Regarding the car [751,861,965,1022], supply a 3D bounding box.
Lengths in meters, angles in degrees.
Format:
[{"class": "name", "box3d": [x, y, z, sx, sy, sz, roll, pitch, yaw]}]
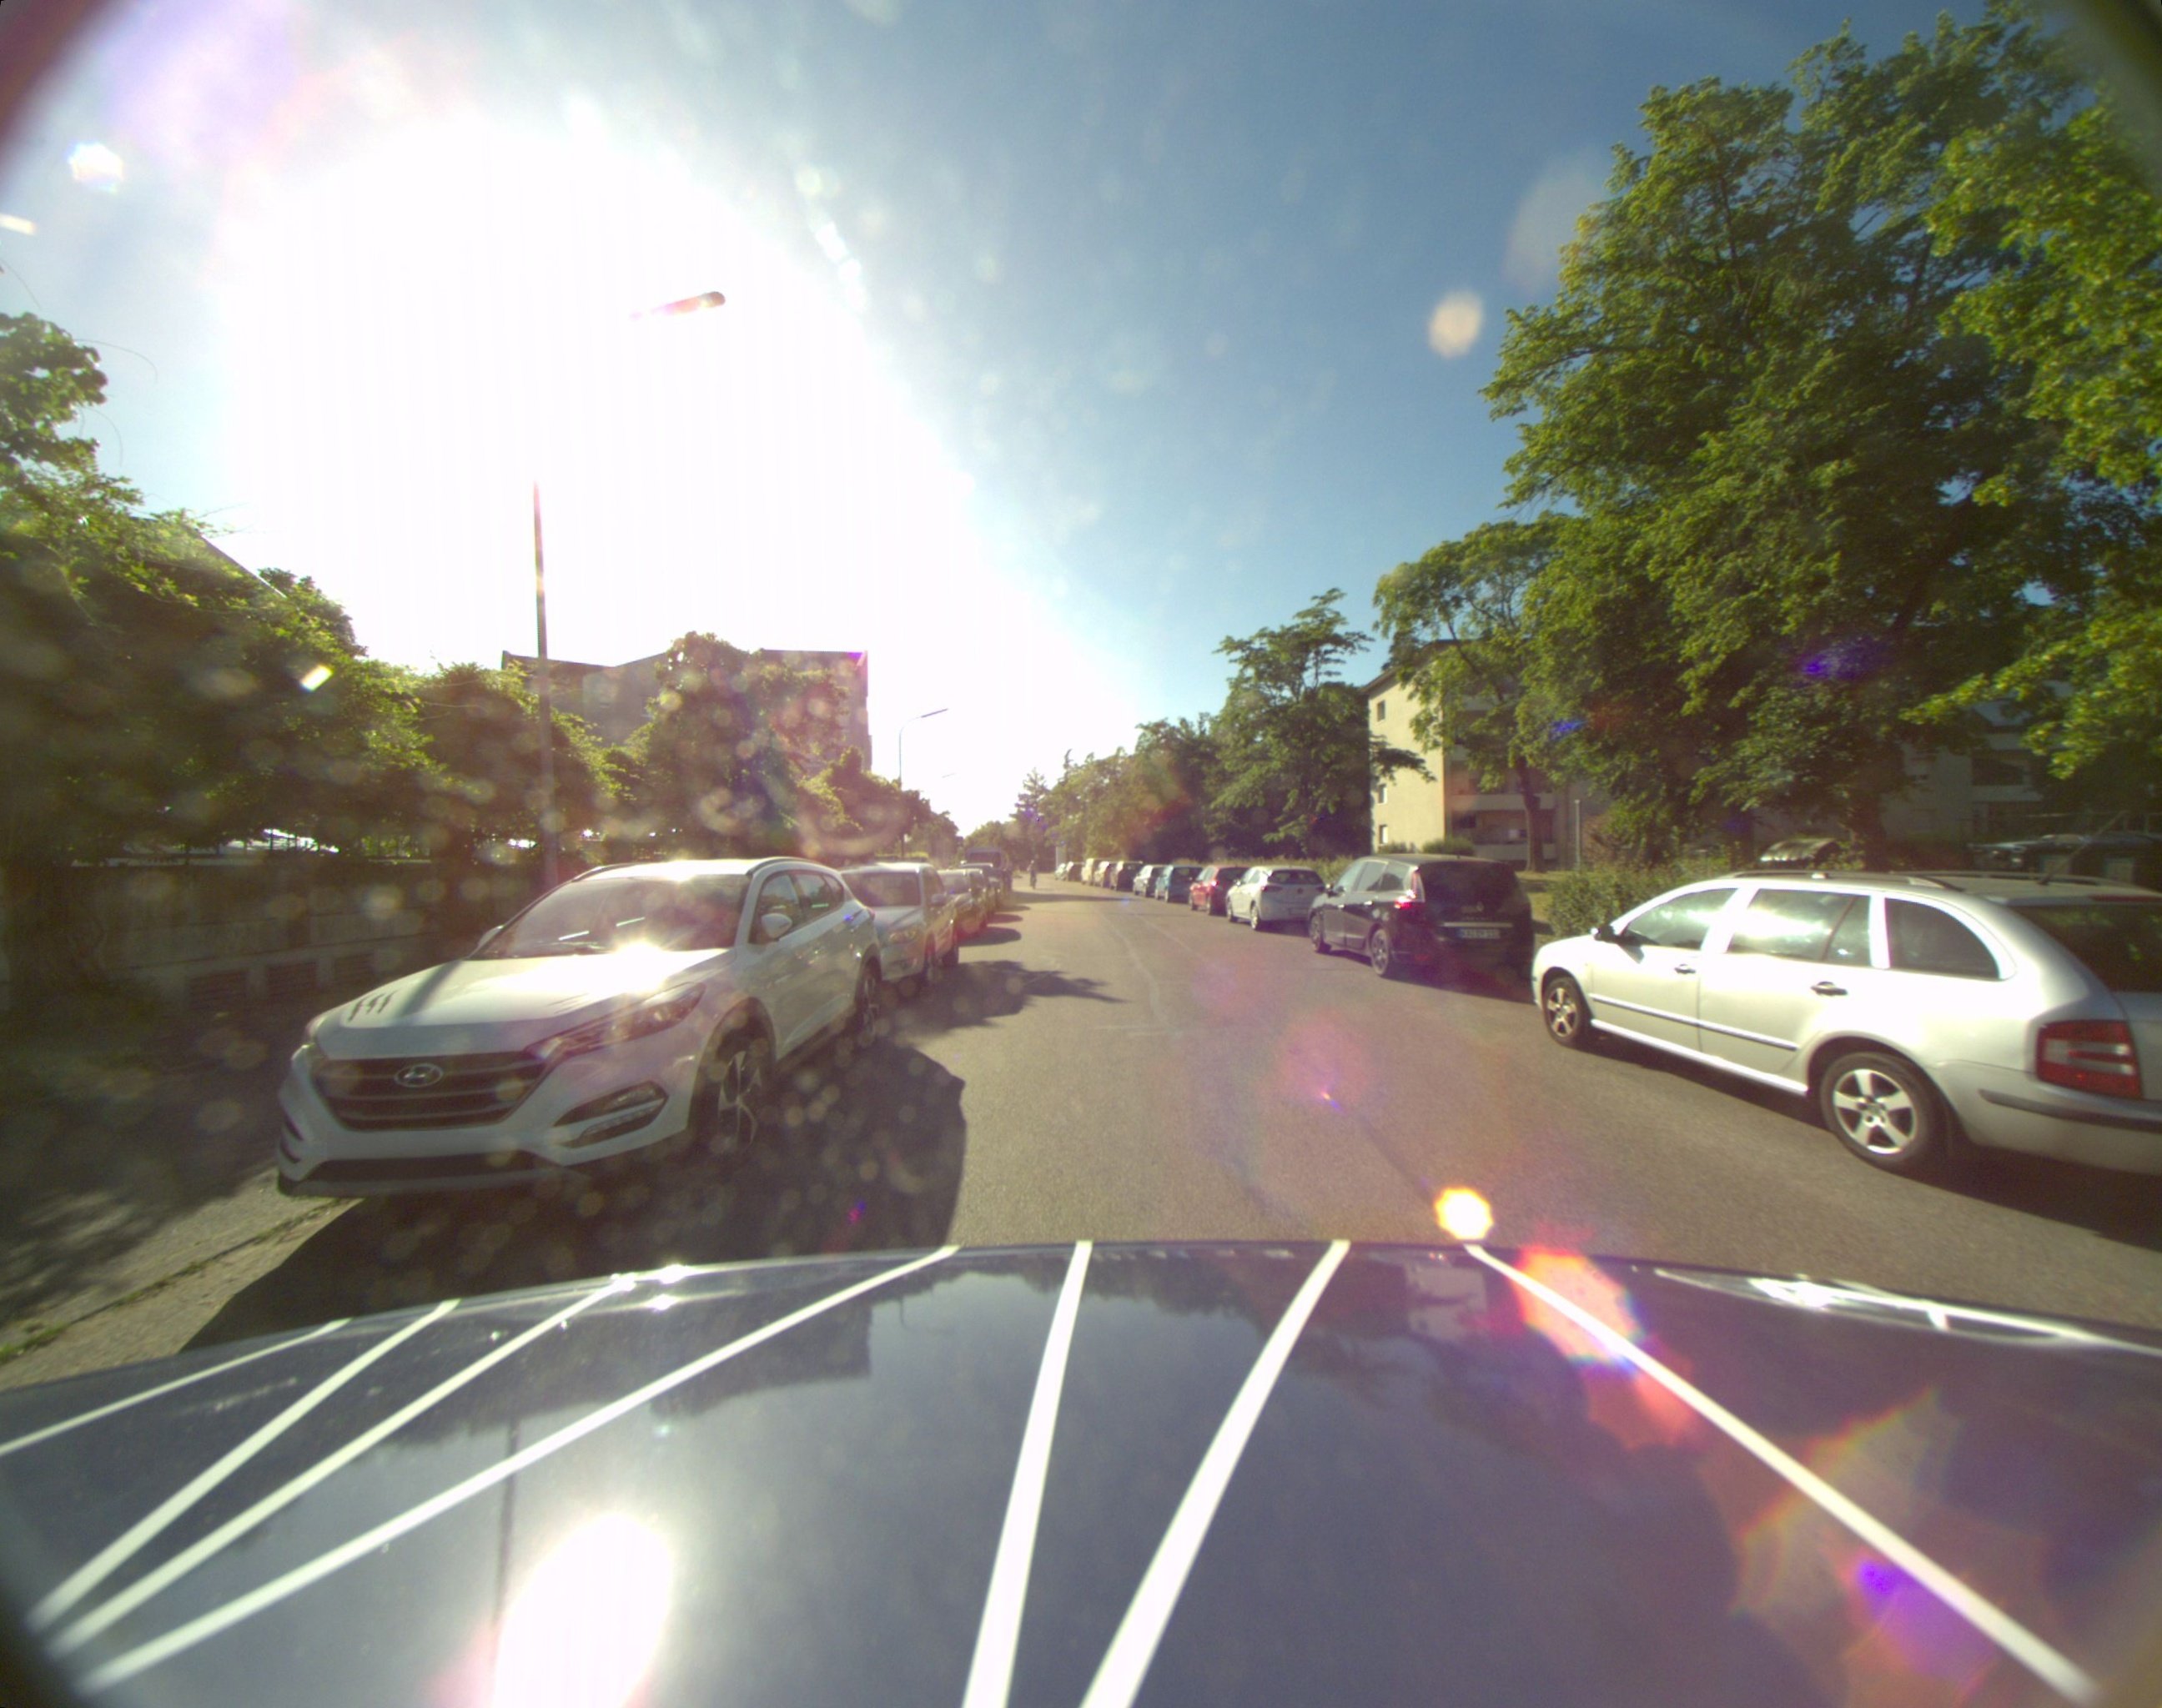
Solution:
[{"class": "car", "box3d": [-2.724, 0.966, 10.252, 1.759, 1.676, 3.983, -2, 0, -2]}]

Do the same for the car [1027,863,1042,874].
[{"class": "car", "box3d": [-6.219, 1.950, 101.210, 1.659, 1.426, 3.687, 0, 0, -9]}]

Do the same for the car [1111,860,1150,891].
[{"class": "car", "box3d": [2.709, 1.152, 42.481, 1.658, 1.621, 4.070, 0, 0, -4]}]

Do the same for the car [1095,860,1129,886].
[{"class": "car", "box3d": [1.958, 1.190, 48.703, 1.658, 1.621, 3.688, 0, 0, -6]}]

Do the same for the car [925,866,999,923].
[{"class": "car", "box3d": [-3.483, 1.135, 22.869, 1.759, 1.470, 3.901, -2, 0, -3]}]

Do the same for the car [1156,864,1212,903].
[{"class": "car", "box3d": [4.023, 1.131, 30.184, 1.658, 1.470, 3.105, 0, 0, -3]}]

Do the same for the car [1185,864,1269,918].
[{"class": "car", "box3d": [4.346, 1.051, 23.198, 1.635, 1.470, 3.878, 0, 0, -3]}]

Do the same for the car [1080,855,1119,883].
[{"class": "car", "box3d": [1.266, 1.028, 53.891, 1.886, 1.857, 5.435, 0, 0, -8]}]

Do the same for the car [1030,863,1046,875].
[{"class": "car", "box3d": [-5.447, 1.862, 96.139, 1.659, 1.426, 3.687, 0, 0, -9]}]

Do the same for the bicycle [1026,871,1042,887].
[{"class": "bicycle", "box3d": [-2.827, 1.512, 45.985, 0.824, 0.896, 2.202, -2, 0, -2]}]

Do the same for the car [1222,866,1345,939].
[{"class": "car", "box3d": [4.603, 1.040, 17.855, 1.811, 1.470, 3.940, 0, 0, -1]}]

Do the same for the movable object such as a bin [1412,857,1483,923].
[{"class": "movable object such as a bin", "box3d": [8.459, 0.800, 17.588, 0.978, 1.407, 1.190, -4, 0, -2]}]

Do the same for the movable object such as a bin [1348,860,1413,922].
[{"class": "movable object such as a bin", "box3d": [7.427, 0.896, 18.906, 1.007, 1.407, 1.264, -4, 0, -2]}]

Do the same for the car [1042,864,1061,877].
[{"class": "car", "box3d": [-3.321, 1.835, 85.499, 1.659, 1.426, 3.687, 0, 0, -9]}]

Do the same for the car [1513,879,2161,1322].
[{"class": "car", "box3d": [4.710, 0.932, 4.711, 1.758, 1.428, 4.151, 0, 0, 1]}]

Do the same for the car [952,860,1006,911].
[{"class": "car", "box3d": [-3.707, 1.108, 28.101, 1.759, 1.684, 3.900, -2, 0, -5]}]

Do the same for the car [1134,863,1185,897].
[{"class": "car", "box3d": [3.563, 1.165, 35.223, 1.658, 1.470, 3.734, 0, 0, -5]}]

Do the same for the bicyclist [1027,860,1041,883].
[{"class": "bicyclist", "box3d": [-2.840, 1.053, 45.980, 0.812, 1.348, 1.091, -2, 0, -2]}]

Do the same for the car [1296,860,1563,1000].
[{"class": "car", "box3d": [4.640, 0.892, 10.960, 1.811, 1.596, 4.432, 0, 0, 0]}]

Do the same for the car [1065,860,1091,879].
[{"class": "car", "box3d": [-0.282, 1.302, 65.422, 1.659, 1.558, 3.687, 0, 0, -9]}]

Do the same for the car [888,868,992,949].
[{"class": "car", "box3d": [-3.103, 1.148, 17.579, 1.759, 1.470, 4.368, -3, 0, -3]}]

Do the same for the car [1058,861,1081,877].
[{"class": "car", "box3d": [-1.140, 1.412, 71.448, 1.659, 1.426, 3.687, 0, 0, -9]}]

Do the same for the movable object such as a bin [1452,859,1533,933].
[{"class": "movable object such as a bin", "box3d": [8.551, 0.842, 15.837, 0.897, 1.407, 1.264, -4, 0, -2]}]

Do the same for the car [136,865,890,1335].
[{"class": "car", "box3d": [-2.691, 0.959, 5.082, 1.759, 1.664, 4.412, -2, 0, -1]}]
